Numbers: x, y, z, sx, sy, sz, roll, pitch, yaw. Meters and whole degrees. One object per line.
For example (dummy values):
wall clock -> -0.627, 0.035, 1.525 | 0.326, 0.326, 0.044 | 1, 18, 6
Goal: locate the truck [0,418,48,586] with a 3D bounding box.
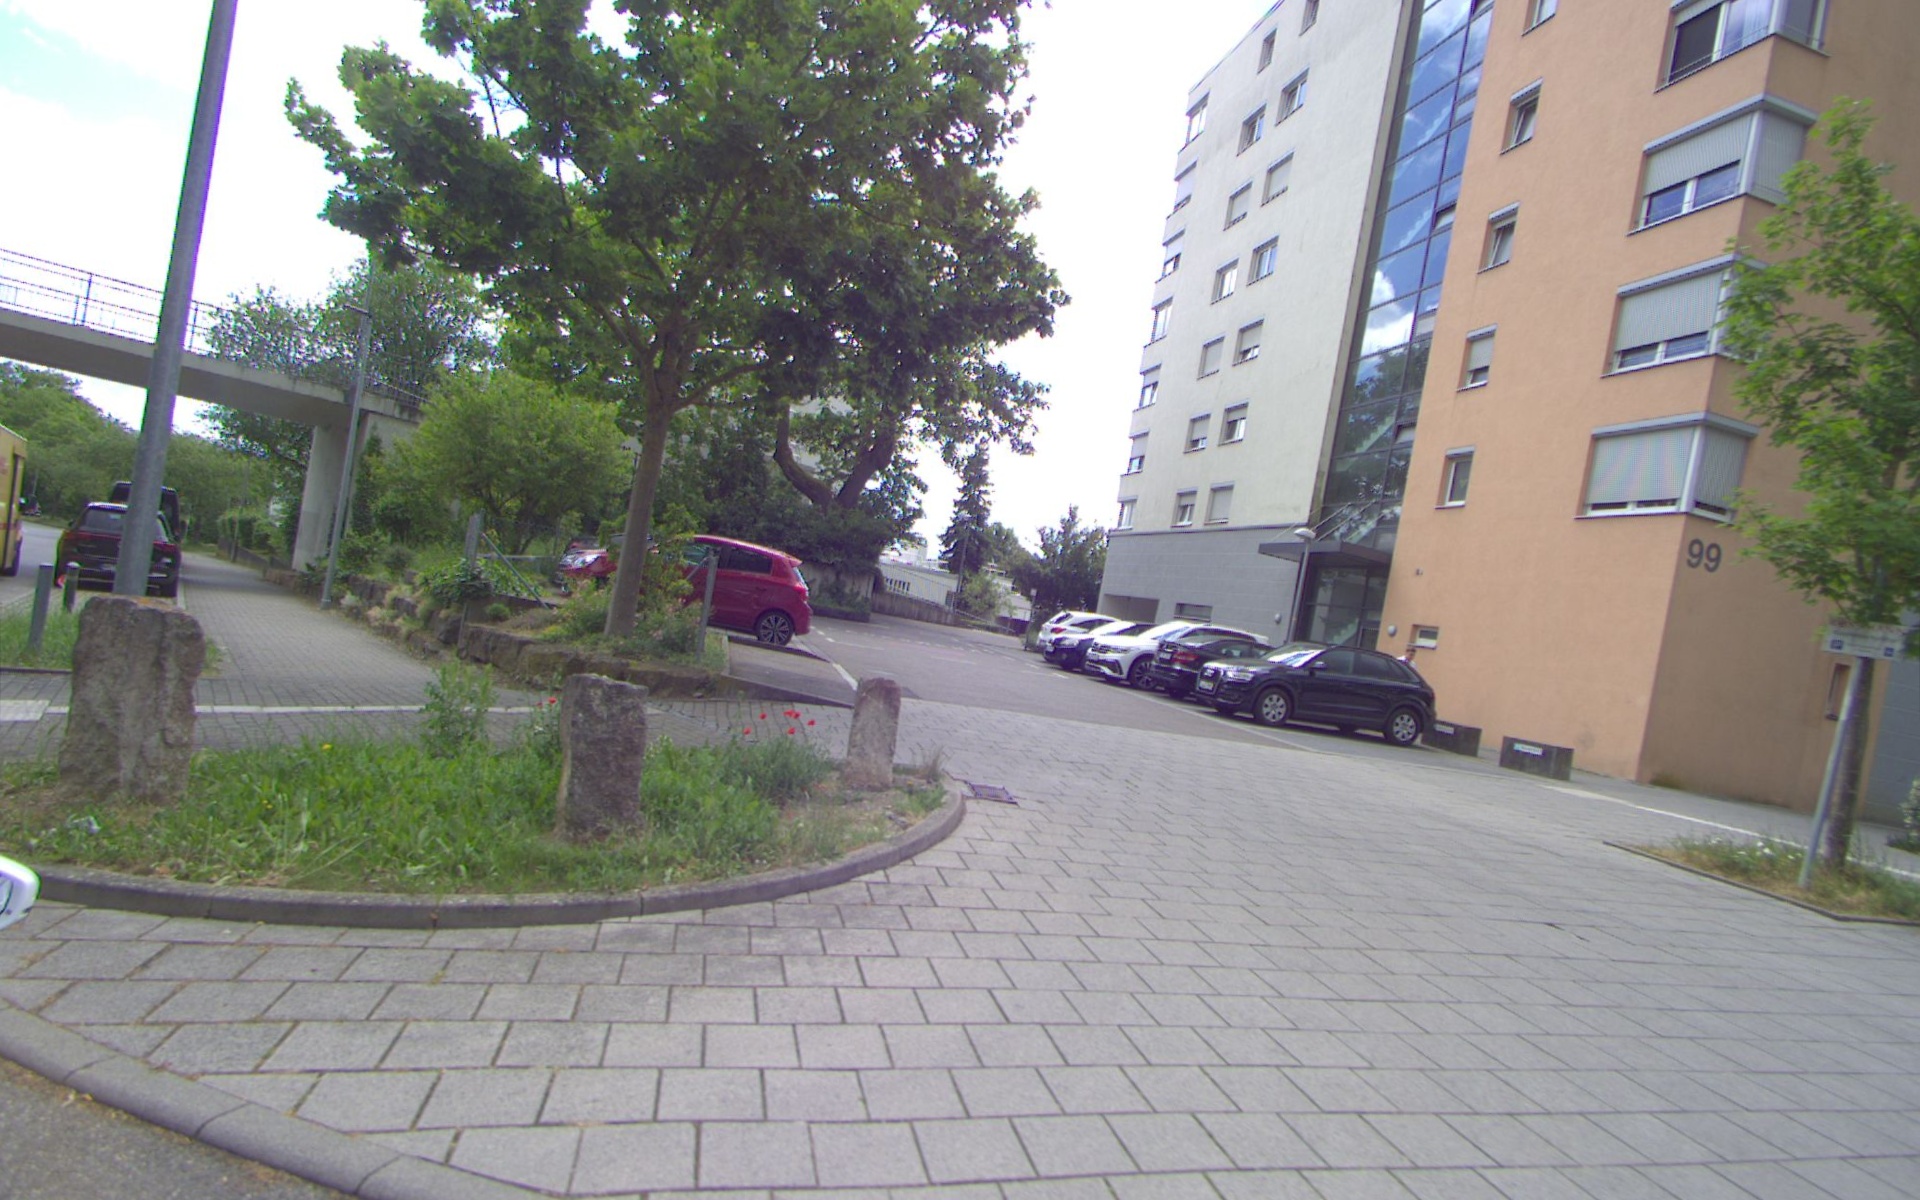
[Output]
truck -> -18.089, -1.862, 17.606 | 2.457, 2.733, 6.750 | 10, -2, -39

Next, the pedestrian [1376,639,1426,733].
pedestrian -> 9.226, 1.796, 21.052 | 0.474, 1.874, 0.504 | 9, 0, -25

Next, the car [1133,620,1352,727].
car -> 5.687, 1.472, 20.400 | 3.780, 1.475, 1.689 | 10, -1, -12

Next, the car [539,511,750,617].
car -> -7.588, -0.831, 24.399 | 4.497, 1.687, 1.936 | 10, -1, -19

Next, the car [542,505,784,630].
car -> -5.153, -0.533, 17.707 | 3.746, 1.438, 1.678 | 10, -1, -17

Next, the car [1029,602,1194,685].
car -> 4.077, 1.159, 27.343 | 3.931, 1.535, 1.753 | 10, -1, -11

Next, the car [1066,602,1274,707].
car -> 4.650, 1.211, 22.377 | 4.076, 1.612, 1.686 | 10, -1, -19

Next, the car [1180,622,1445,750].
car -> 6.231, 1.509, 17.962 | 3.991, 1.535, 1.752 | 10, -1, -12

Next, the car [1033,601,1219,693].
car -> 4.027, 1.128, 24.636 | 3.991, 1.535, 1.752 | 10, -1, -12

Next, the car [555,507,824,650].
car -> -4.086, -0.293, 15.428 | 3.610, 1.455, 1.678 | 10, -1, -17

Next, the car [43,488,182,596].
car -> -16.983, -1.065, 20.226 | 1.807, 1.696, 4.325 | 9, -5, -40

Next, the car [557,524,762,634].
car -> -5.958, -0.394, 20.173 | 3.610, 1.515, 1.678 | 10, -1, -17

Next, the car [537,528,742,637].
car -> -7.034, -0.358, 22.227 | 3.946, 1.632, 1.936 | 10, -1, -19

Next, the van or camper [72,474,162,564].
van or camper -> -28.176, -2.653, 33.769 | 1.984, 2.553, 5.413 | 6, -1, -39
